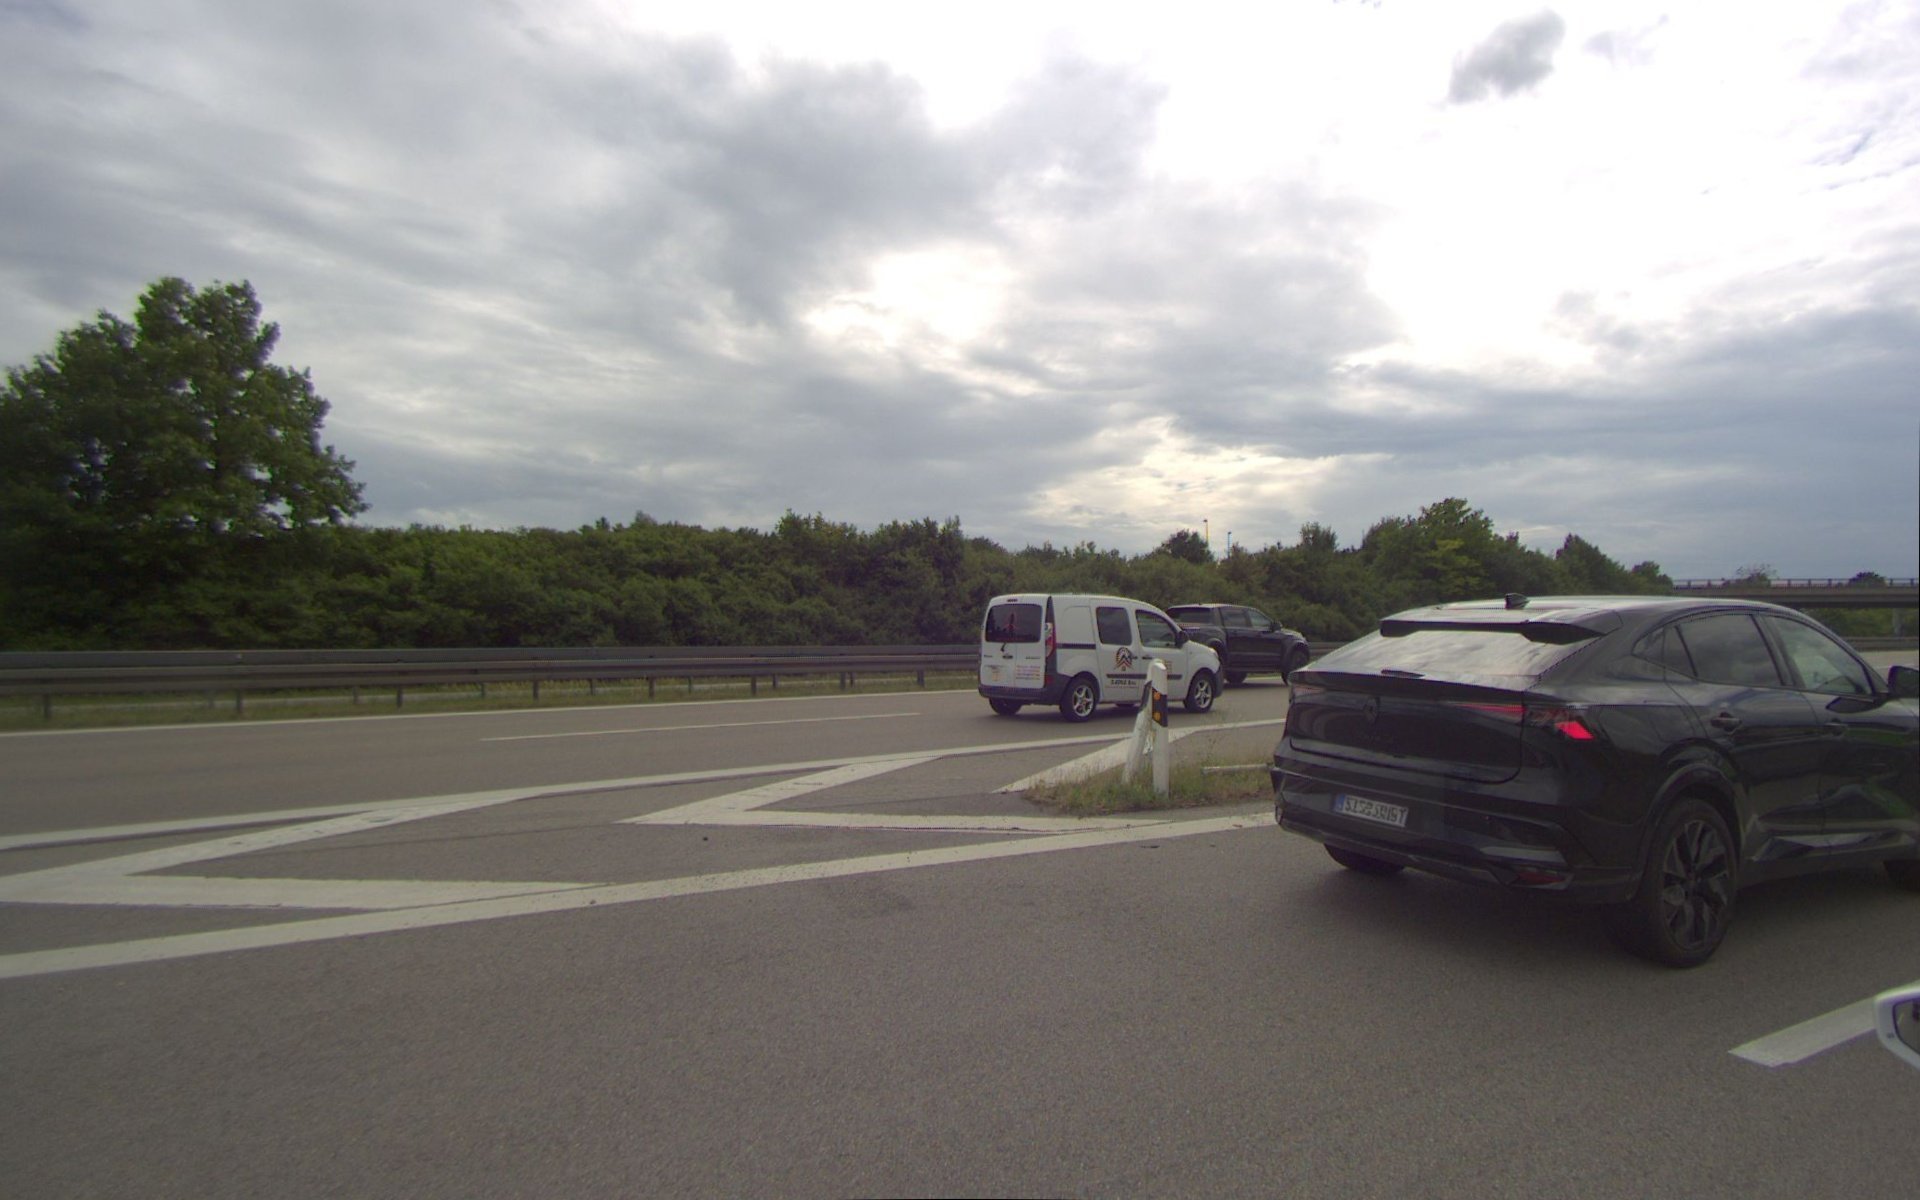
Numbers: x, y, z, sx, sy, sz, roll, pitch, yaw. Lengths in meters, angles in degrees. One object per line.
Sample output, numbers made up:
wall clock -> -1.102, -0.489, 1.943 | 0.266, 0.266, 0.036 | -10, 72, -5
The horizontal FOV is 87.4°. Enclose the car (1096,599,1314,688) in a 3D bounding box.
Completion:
car -> 5.679, 0.966, 22.861 | 5.364, 1.809, 1.978 | 2, -2, -38

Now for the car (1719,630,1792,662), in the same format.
car -> 37.976, 2.159, 47.940 | 4.755, 1.442, 1.708 | 2, -2, -39

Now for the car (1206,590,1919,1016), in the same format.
car -> 3.704, 0.795, 5.602 | 4.441, 1.587, 1.826 | 1, 0, -28

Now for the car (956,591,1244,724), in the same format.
car -> 2.251, 0.832, 15.500 | 4.447, 1.774, 1.862 | 2, -2, -38
